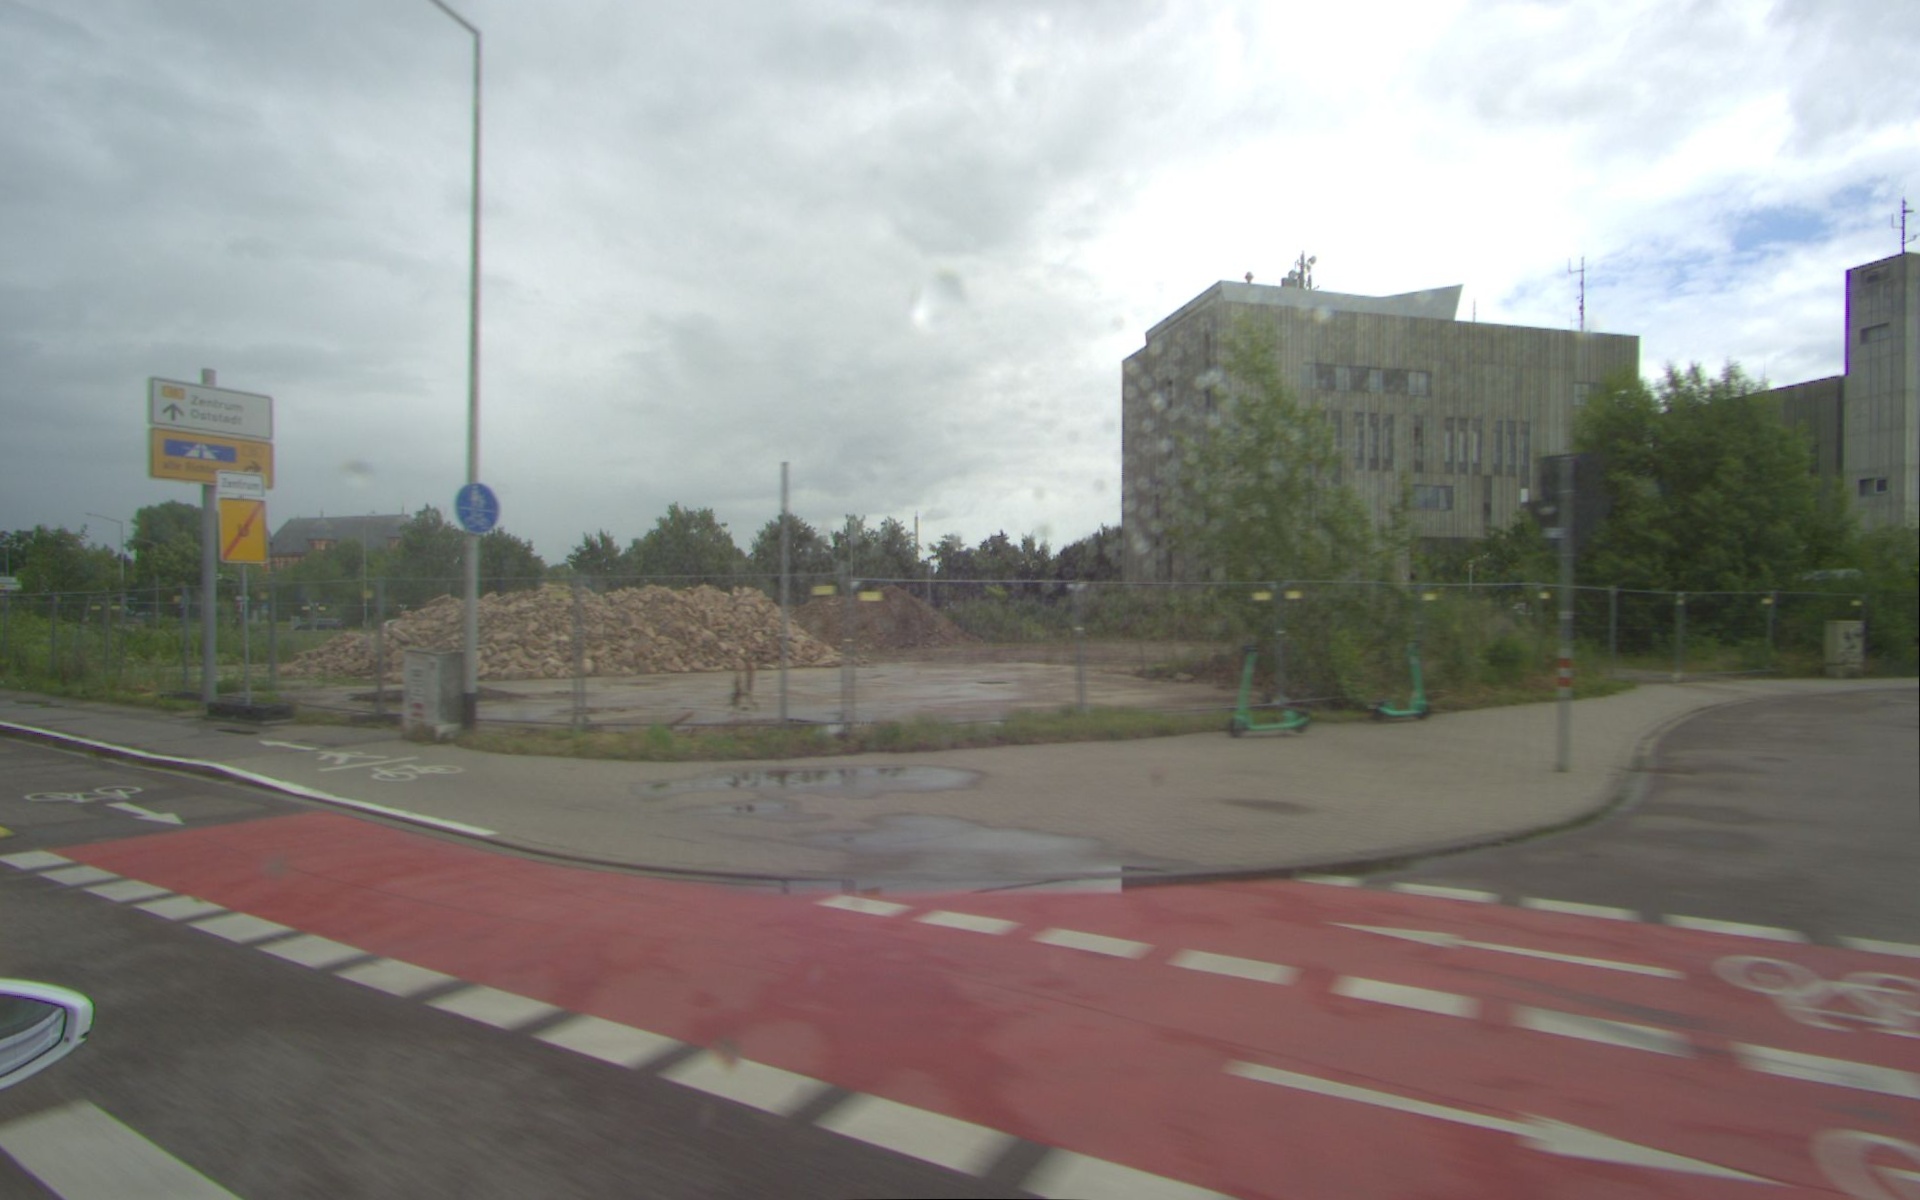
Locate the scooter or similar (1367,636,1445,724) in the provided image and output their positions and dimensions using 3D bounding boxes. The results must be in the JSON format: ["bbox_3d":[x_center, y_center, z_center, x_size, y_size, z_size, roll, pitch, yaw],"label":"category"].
[{"bbox_3d":[6.434,1.130,14.424,1.157,1.201,0.443,0,0,-31],"label":"scooter or similar"}]

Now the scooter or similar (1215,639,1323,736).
[{"bbox_3d":[3.983,1.109,12.918,1.303,1.201,0.445,0,0,-15],"label":"scooter or similar"}]
